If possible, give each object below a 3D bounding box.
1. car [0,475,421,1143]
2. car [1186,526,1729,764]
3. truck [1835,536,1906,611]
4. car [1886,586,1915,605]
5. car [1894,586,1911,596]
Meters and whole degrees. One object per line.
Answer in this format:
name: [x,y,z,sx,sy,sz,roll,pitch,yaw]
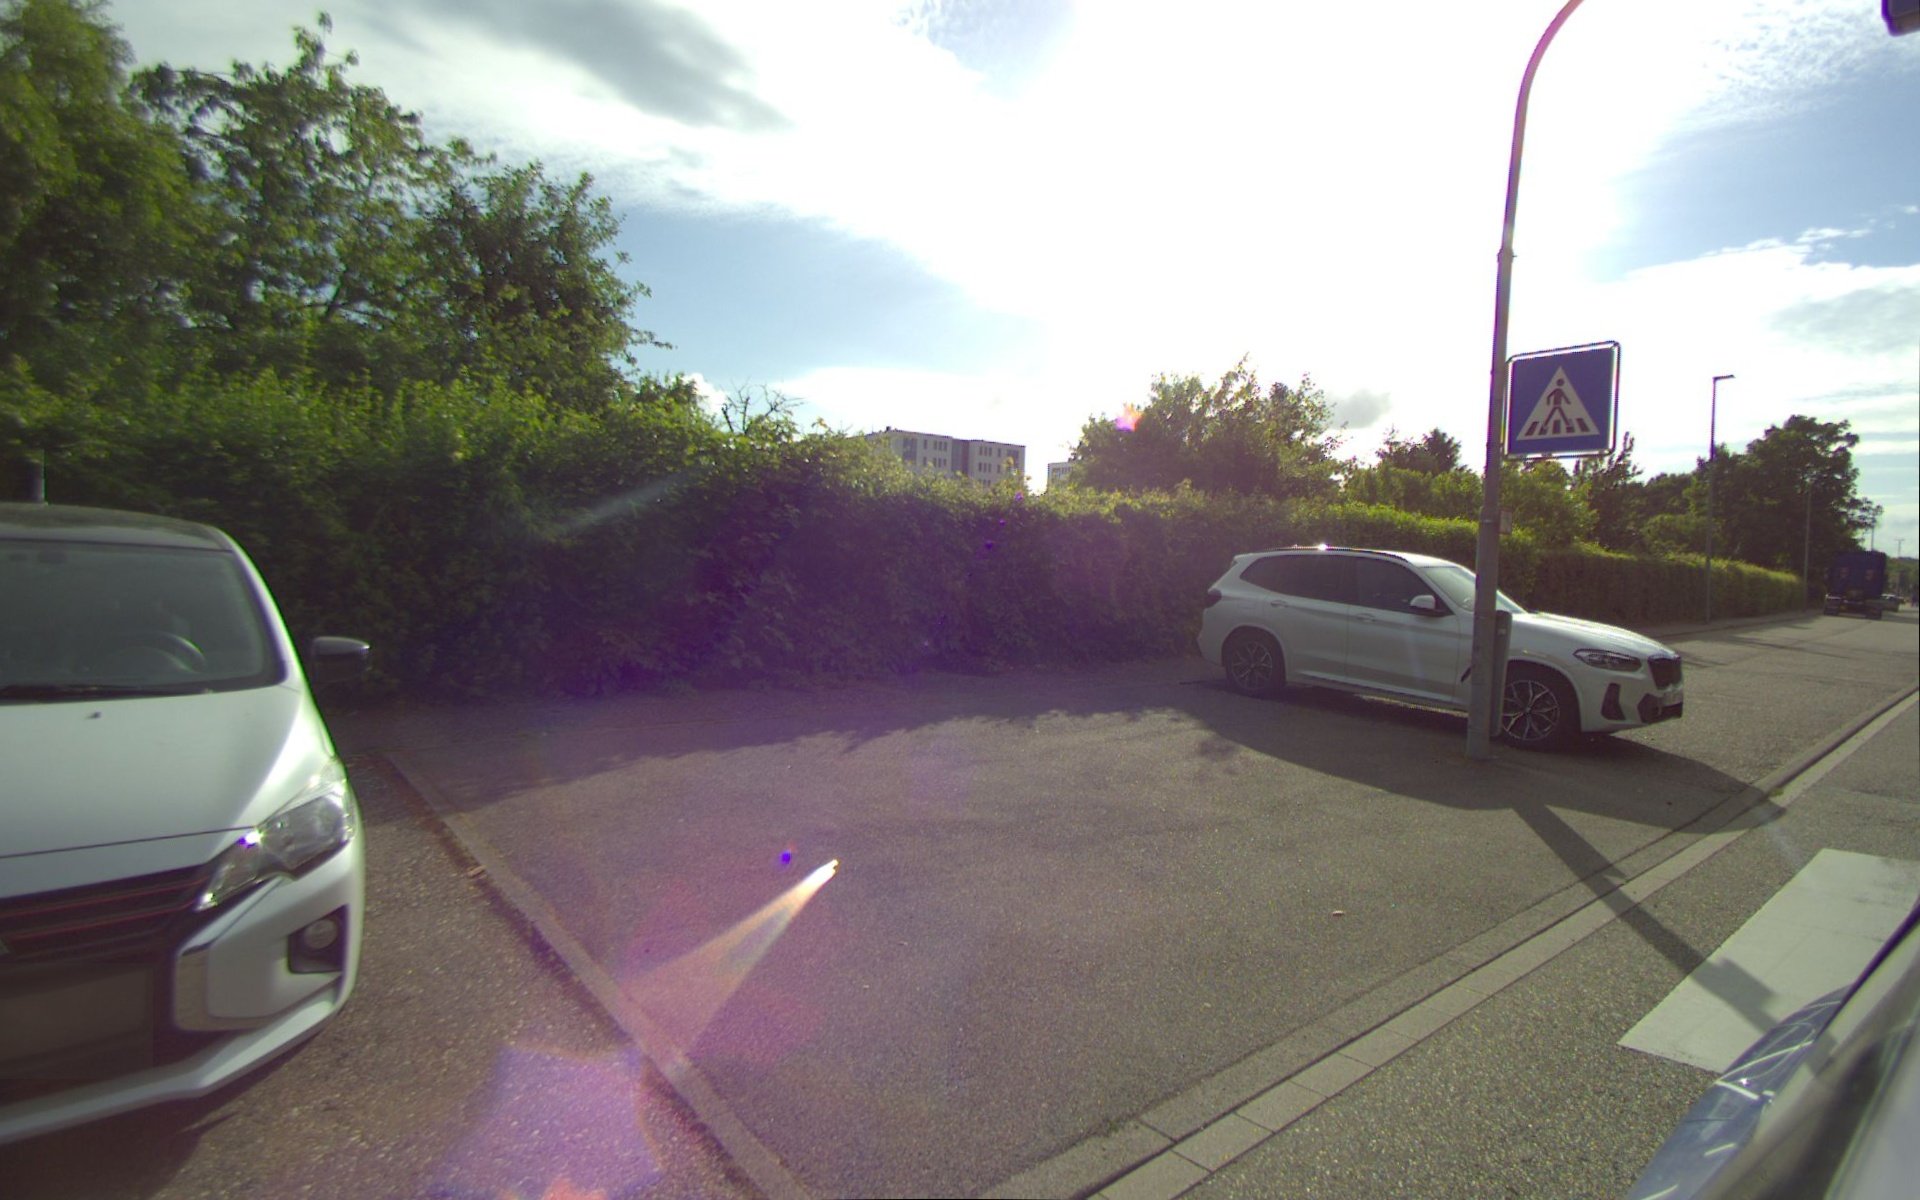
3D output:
car: [-3.432,0.316,3.765,1.663,1.507,3.867,0,6,-41]
car: [4.751,0.225,10.364,1.732,1.719,4.602,0,6,-39]
truck: [53.235,-1.545,59.306,2.595,4.005,6.189,7,5,41]
car: [85.196,-0.402,91.711,1.747,1.589,3.803,6,4,42]
car: [145.017,-1.339,155.776,1.747,1.404,3.803,6,4,42]
